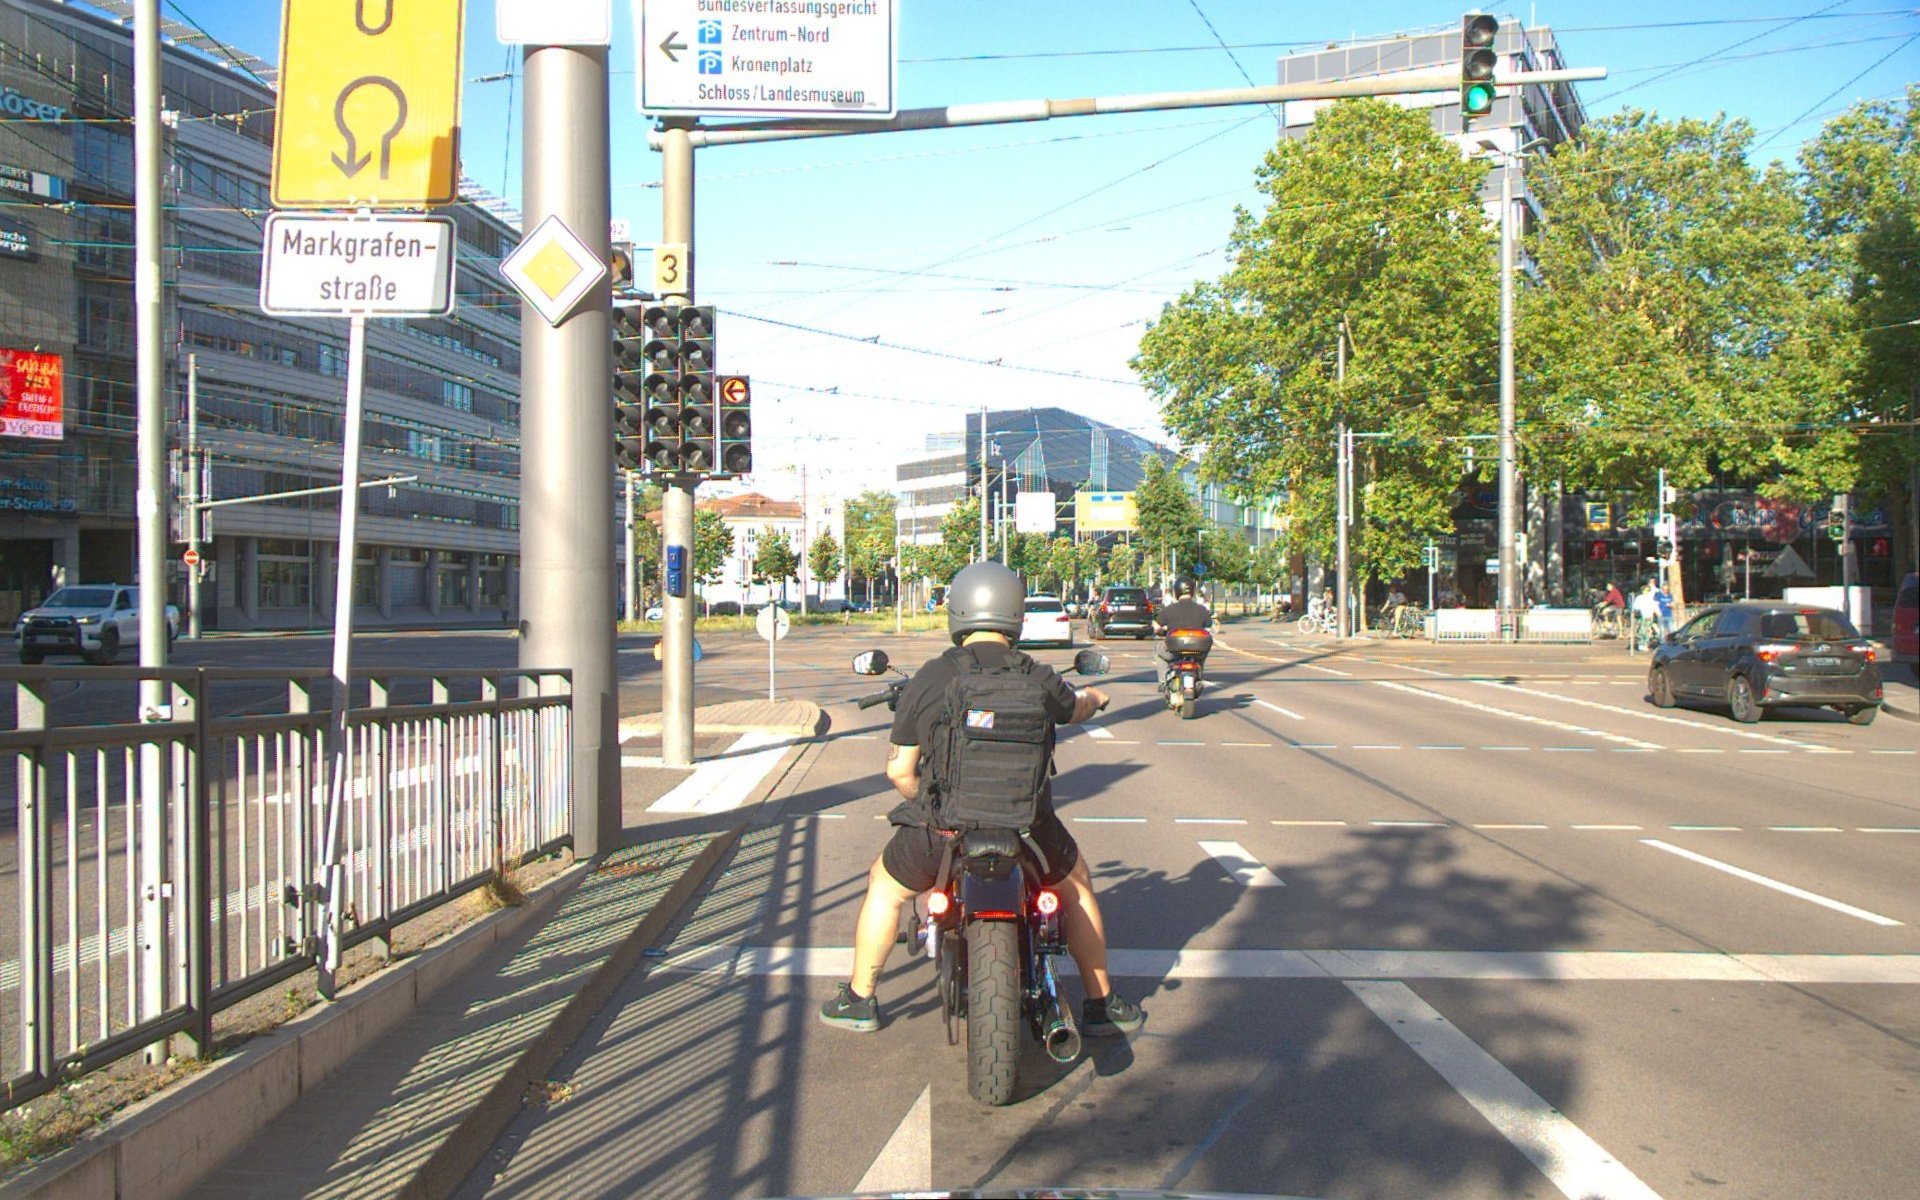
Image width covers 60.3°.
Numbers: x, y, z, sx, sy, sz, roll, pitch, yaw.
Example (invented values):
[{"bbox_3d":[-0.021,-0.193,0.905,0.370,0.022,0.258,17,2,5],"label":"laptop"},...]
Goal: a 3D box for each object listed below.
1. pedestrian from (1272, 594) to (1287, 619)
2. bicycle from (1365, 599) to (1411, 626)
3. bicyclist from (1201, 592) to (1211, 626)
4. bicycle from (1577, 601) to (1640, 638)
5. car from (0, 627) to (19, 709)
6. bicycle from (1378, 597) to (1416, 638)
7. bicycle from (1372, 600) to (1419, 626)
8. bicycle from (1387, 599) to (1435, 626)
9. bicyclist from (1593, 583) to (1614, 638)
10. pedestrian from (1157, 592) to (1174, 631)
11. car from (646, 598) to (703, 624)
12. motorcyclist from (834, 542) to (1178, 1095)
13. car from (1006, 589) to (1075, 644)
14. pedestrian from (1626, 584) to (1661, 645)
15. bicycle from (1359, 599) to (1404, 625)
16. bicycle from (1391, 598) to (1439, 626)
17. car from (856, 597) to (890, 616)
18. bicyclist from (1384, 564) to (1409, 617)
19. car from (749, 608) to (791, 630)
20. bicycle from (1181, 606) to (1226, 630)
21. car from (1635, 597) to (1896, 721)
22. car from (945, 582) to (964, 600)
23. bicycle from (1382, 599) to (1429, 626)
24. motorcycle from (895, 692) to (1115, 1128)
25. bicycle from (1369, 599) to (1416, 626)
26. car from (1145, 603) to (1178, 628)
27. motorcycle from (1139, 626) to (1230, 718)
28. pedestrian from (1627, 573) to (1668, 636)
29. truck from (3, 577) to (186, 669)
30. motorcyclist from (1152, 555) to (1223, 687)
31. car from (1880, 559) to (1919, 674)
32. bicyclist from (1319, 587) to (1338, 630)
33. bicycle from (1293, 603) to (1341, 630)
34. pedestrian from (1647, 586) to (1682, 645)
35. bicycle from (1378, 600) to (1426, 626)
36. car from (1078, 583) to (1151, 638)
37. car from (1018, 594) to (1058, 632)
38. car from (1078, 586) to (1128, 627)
[{"bbox_3d":[17.582,0.365,91.030,0.802,1.337,0.638,1,-1,8],"label":"pedestrian"},{"bbox_3d":[18.065,0.525,69.774,1.842,1.064,0.360,1,0,-2],"label":"bicycle"},{"bbox_3d":[9.977,0.367,67.048,0.372,1.397,0.345,1,-1,7],"label":"bicyclist"},{"bbox_3d":[22.334,0.678,56.927,2.001,1.235,0.421,1,-1,-1],"label":"bicycle"},{"bbox_3d":[-14.516,0.904,22.446,2.835,1.081,1.235,1,-1,-22],"label":"car"},{"bbox_3d":[15.346,0.606,58.187,0.710,1.391,2.918,1,-1,3],"label":"bicycle"},{"bbox_3d":[18.104,0.536,68.789,1.842,1.065,0.360,1,-1,-2],"label":"bicycle"},{"bbox_3d":[18.212,0.495,66.789,1.842,1.065,0.360,1,-1,-2],"label":"bicycle"},{"bbox_3d":[22.148,0.361,56.934,0.572,1.870,0.402,1,-1,-1],"label":"bicyclist"},{"bbox_3d":[8.555,0.480,68.716,0.576,1.584,0.488,1,-1,-9],"label":"pedestrian"},{"bbox_3d":[-16.547,0.616,96.118,1.786,1.455,4.534,0,0,10],"label":"car"},{"bbox_3d":[0.129,0.639,5.303,1.009,1.621,0.873,0,0,-1],"label":"motorcyclist"},{"bbox_3d":[2.277,0.487,47.699,1.696,1.482,4.417,1,-1,-1],"label":"car"},{"bbox_3d":[17.630,0.379,42.667,0.555,1.559,0.701,1,-1,-8],"label":"pedestrian"},{"bbox_3d":[18.080,0.527,70.926,1.842,1.064,0.360,1,0,-2],"label":"bicycle"},{"bbox_3d":[18.156,0.474,66.005,1.842,1.065,0.360,1,-1,-2],"label":"bicycle"},{"bbox_3d":[-7.186,0.550,137.194,1.712,1.550,4.003,1,-1,13],"label":"car"},{"bbox_3d":[15.355,-0.321,58.201,0.682,1.840,0.729,1,-1,3],"label":"bicyclist"},{"bbox_3d":[-13.371,1.341,116.575,1.786,1.455,4.244,1,-1,11],"label":"car"},{"bbox_3d":[9.872,0.731,67.054,1.786,0.942,0.358,1,-1,7],"label":"bicycle"},{"bbox_3d":[10.733,0.717,22.368,1.695,1.475,4.042,1,0,3],"label":"car"},{"bbox_3d":[-0.707,-1.127,204.763,1.951,2.049,4.303,1,-1,5],"label":"car"},{"bbox_3d":[18.205,0.515,67.603,1.842,1.065,0.360,1,-1,-2],"label":"bicycle"},{"bbox_3d":[0.107,0.916,5.671,0.588,1.054,2.233,1,0,-1],"label":"motorcycle"},{"bbox_3d":[18.105,0.528,69.275,1.842,1.064,0.360,1,0,-2],"label":"bicycle"},{"bbox_3d":[14.394,1.125,118.178,1.765,1.708,4.043,1,-1,15],"label":"car"},{"bbox_3d":[2.803,0.871,20.876,0.787,1.069,2.375,1,-1,-1],"label":"motorcycle"},{"bbox_3d":[19.447,0.132,46.792,0.816,1.734,0.759,1,-1,-1],"label":"pedestrian"},{"bbox_3d":[-19.967,0.548,38.416,1.955,1.912,5.148,-2,-1,-6],"label":"truck"},{"bbox_3d":[2.823,0.259,20.579,0.780,1.607,0.529,1,-1,-2],"label":"motorcyclist"},{"bbox_3d":[19.142,0.336,29.818,4.380,2.044,1.804,1,0,-13],"label":"car"},{"bbox_3d":[14.573,0.345,65.416,0.673,1.702,0.541,0,-1,18],"label":"bicyclist"},{"bbox_3d":[14.145,0.667,65.542,1.831,1.062,0.537,0,-1,18],"label":"bicycle"},{"bbox_3d":[18.205,0.409,42.735,0.555,1.505,0.701,1,-1,-8],"label":"pedestrian"},{"bbox_3d":[18.207,0.532,68.160,1.842,1.064,0.360,1,0,-2],"label":"bicycle"},{"bbox_3d":[5.213,0.313,56.370,1.698,1.762,4.607,1,1,-5],"label":"car"},{"bbox_3d":[3.628,0.610,77.328,1.766,1.708,4.042,1,-1,2],"label":"car"},{"bbox_3d":[6.016,0.243,70.136,1.696,1.626,4.040,1,1,-1],"label":"car"}]
